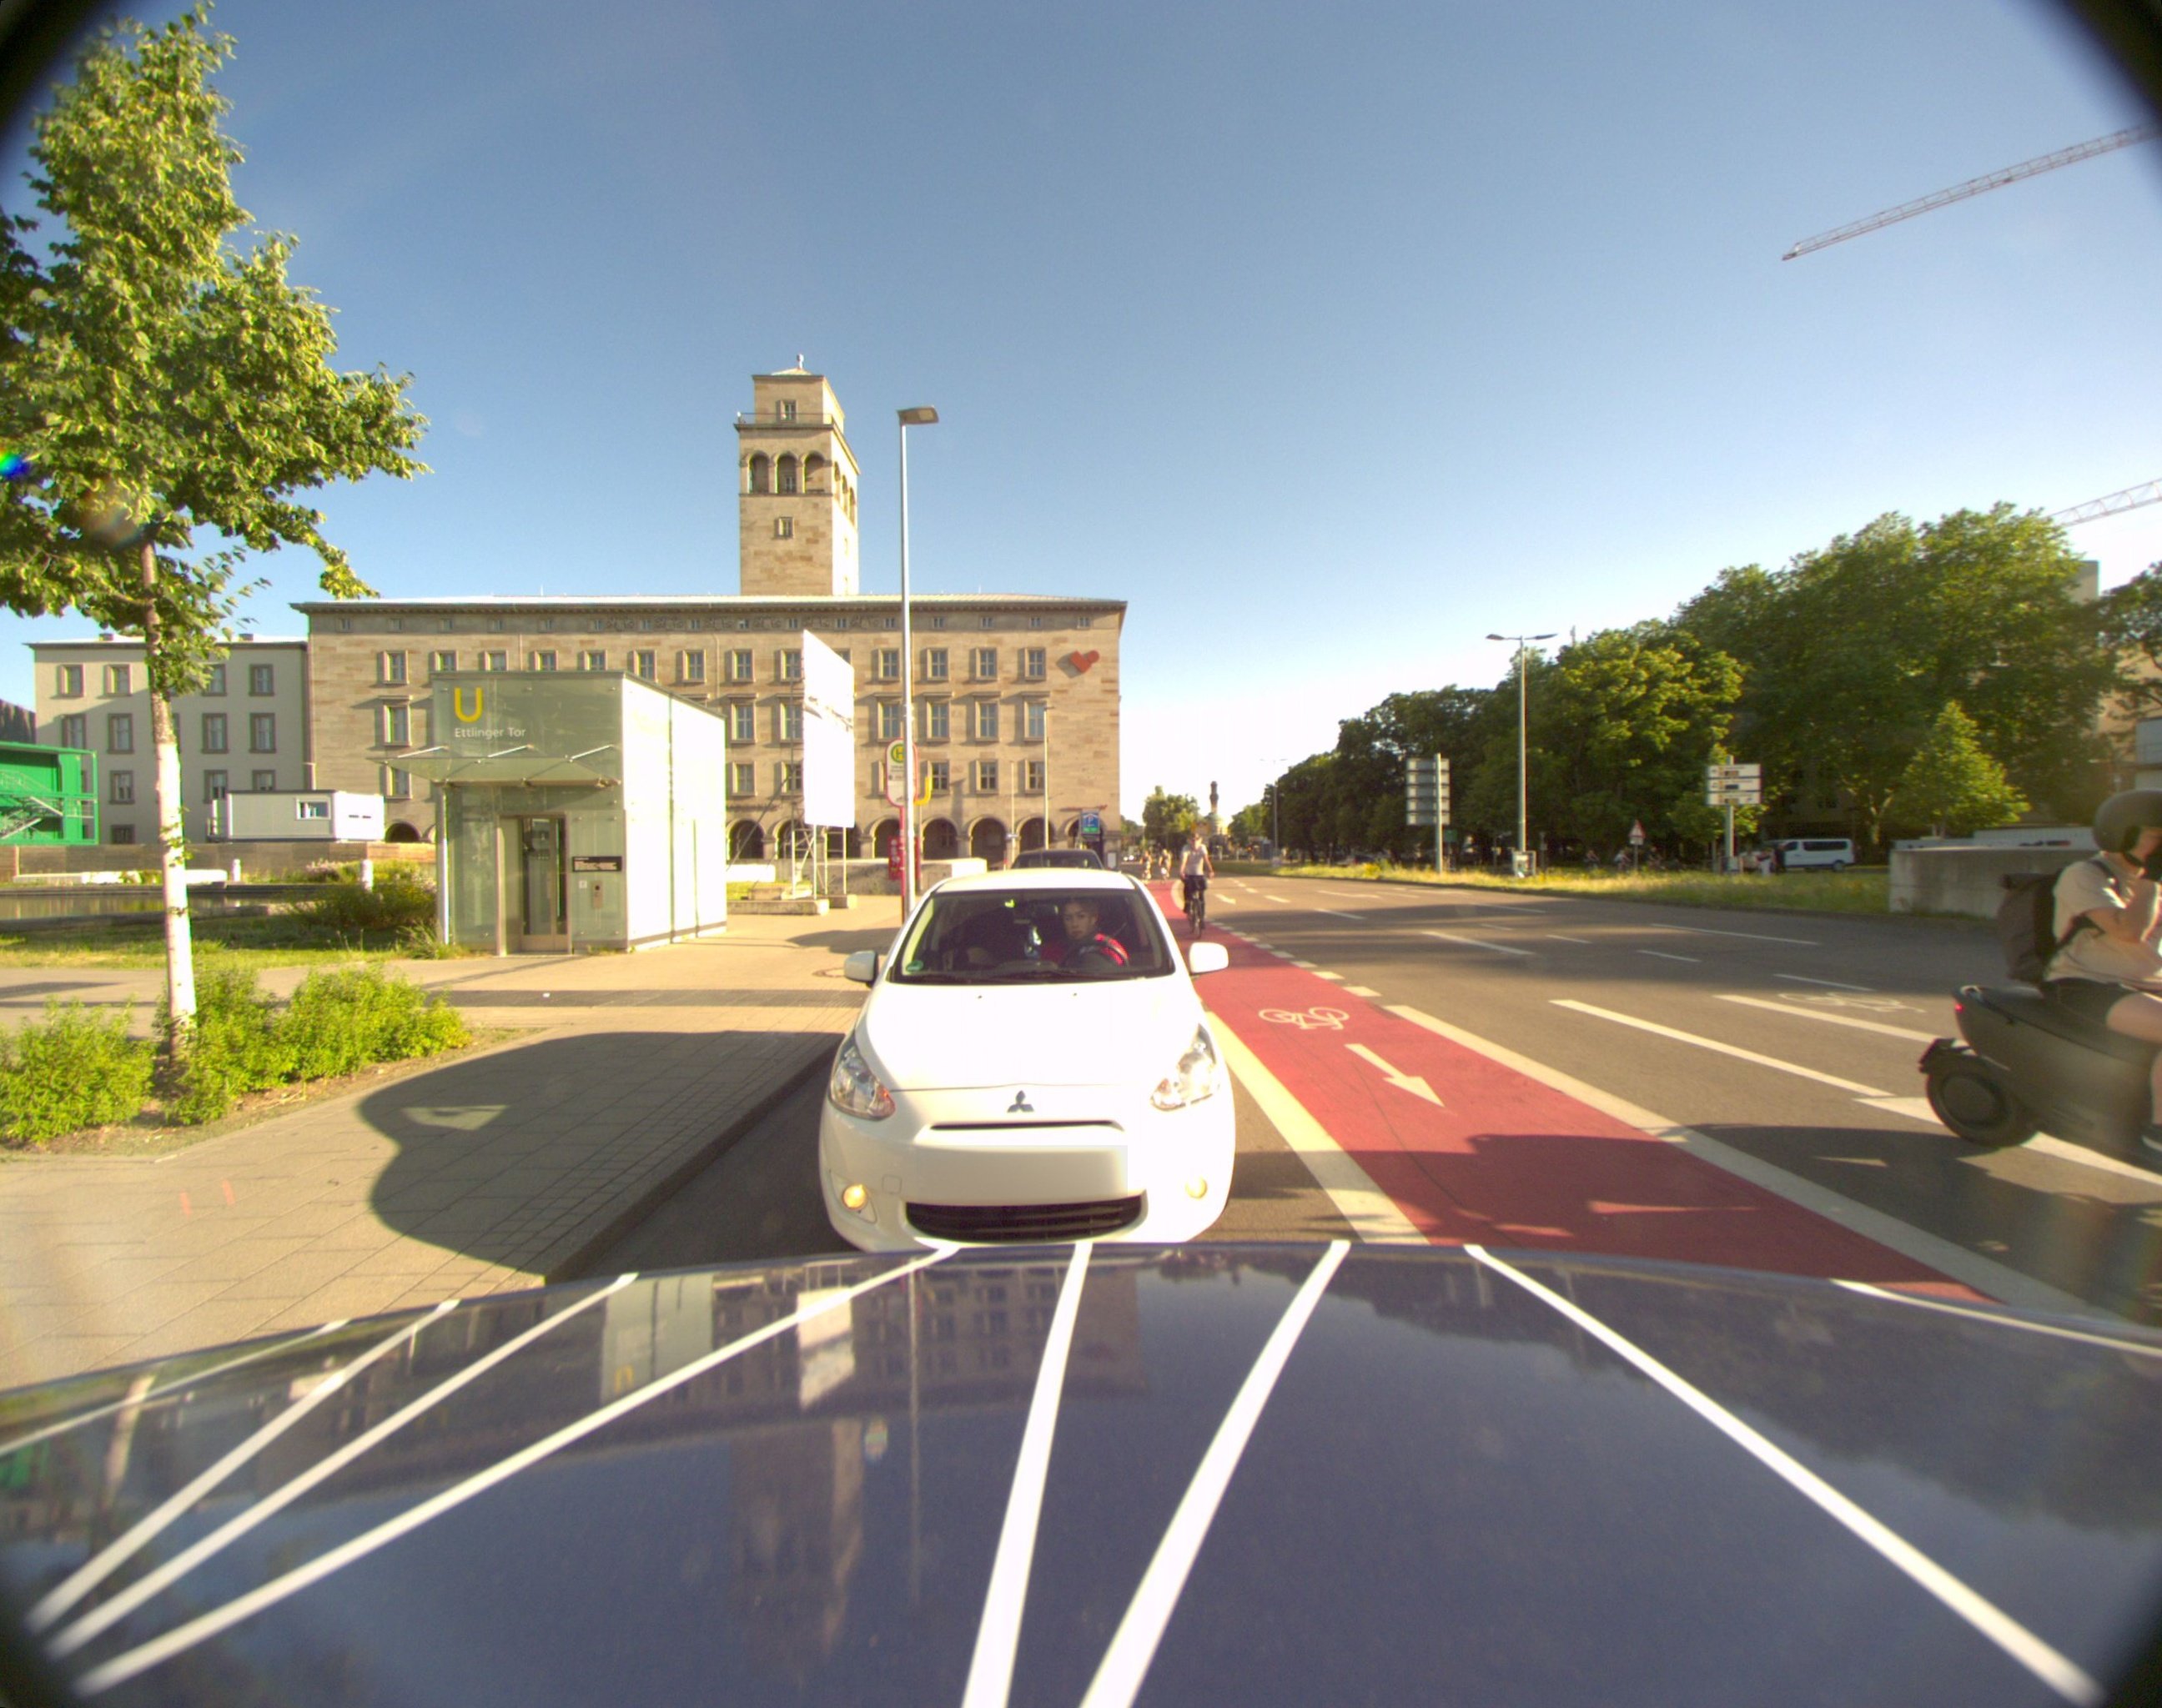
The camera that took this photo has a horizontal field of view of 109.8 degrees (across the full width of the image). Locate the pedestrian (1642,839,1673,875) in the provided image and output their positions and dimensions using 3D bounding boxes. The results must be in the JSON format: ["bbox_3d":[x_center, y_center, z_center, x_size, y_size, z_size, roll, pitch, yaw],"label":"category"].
[{"bbox_3d":[32.897,0.170,43.374,1.126,1.952,0.815,-2,1,1],"label":"pedestrian"}]

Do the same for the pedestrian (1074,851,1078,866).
[{"bbox_3d":[-0.699,0.625,107.834,0.612,2.002,0.727,-2,1,0],"label":"pedestrian"}]

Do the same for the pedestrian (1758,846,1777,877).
[{"bbox_3d":[33.338,0.366,36.899,0.499,1.502,0.494,-1,1,1],"label":"pedestrian"}]

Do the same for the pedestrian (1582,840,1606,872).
[{"bbox_3d":[33.365,0.135,49.405,0.841,2.002,0.955,-3,1,-25],"label":"pedestrian"}]

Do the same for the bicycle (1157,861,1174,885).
[{"bbox_3d":[4.202,0.932,37.702,0.689,1.185,1.506,-1,1,1],"label":"bicycle"}]

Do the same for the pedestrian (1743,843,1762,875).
[{"bbox_3d":[32.356,0.239,36.628,0.499,1.502,0.494,-1,1,1],"label":"pedestrian"}]

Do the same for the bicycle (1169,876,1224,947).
[{"bbox_3d":[2.078,1.002,13.883,0.741,1.140,1.890,-1,0,1],"label":"bicycle"}]

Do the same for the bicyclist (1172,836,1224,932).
[{"bbox_3d":[2.117,0.533,13.830,0.807,1.690,0.852,-1,1,1],"label":"bicyclist"}]

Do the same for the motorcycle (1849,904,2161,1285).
[{"bbox_3d":[4.274,0.899,2.853,0.828,1.273,1.944,-1,0,1],"label":"motorcycle"}]

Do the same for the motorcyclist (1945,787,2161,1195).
[{"bbox_3d":[4.268,0.484,2.950,0.823,1.455,0.877,-1,1,1],"label":"motorcyclist"}]

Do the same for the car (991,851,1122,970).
[{"bbox_3d":[-0.321,0.796,12.752,1.833,1.660,4.000,-1,0,1],"label":"car"}]

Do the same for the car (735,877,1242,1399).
[{"bbox_3d":[-0.253,0.927,4.307,1.519,1.447,4.000,-1,0,1],"label":"car"}]

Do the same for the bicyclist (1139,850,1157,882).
[{"bbox_3d":[3.368,0.584,38.148,0.823,1.568,0.877,-1,1,1],"label":"bicyclist"}]

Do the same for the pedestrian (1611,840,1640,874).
[{"bbox_3d":[33.093,0.176,46.173,0.951,1.952,1.058,-2,1,-14],"label":"pedestrian"}]

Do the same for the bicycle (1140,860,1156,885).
[{"bbox_3d":[3.339,0.927,38.084,0.689,1.185,1.506,-1,1,1],"label":"bicycle"}]

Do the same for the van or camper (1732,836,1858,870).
[{"bbox_3d":[42.242,-0.048,45.059,5.499,1.934,1.951,-1,0,4],"label":"van or camper"}]

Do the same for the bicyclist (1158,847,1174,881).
[{"bbox_3d":[4.208,0.492,37.699,0.674,1.649,0.877,-1,1,1],"label":"bicyclist"}]

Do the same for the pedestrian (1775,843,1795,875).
[{"bbox_3d":[34.127,0.241,36.850,0.499,1.502,0.494,-1,1,1],"label":"pedestrian"}]

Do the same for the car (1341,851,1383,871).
[{"bbox_3d":[21.804,0.520,59.096,1.881,1.472,3.980,-1,0,1],"label":"car"}]
